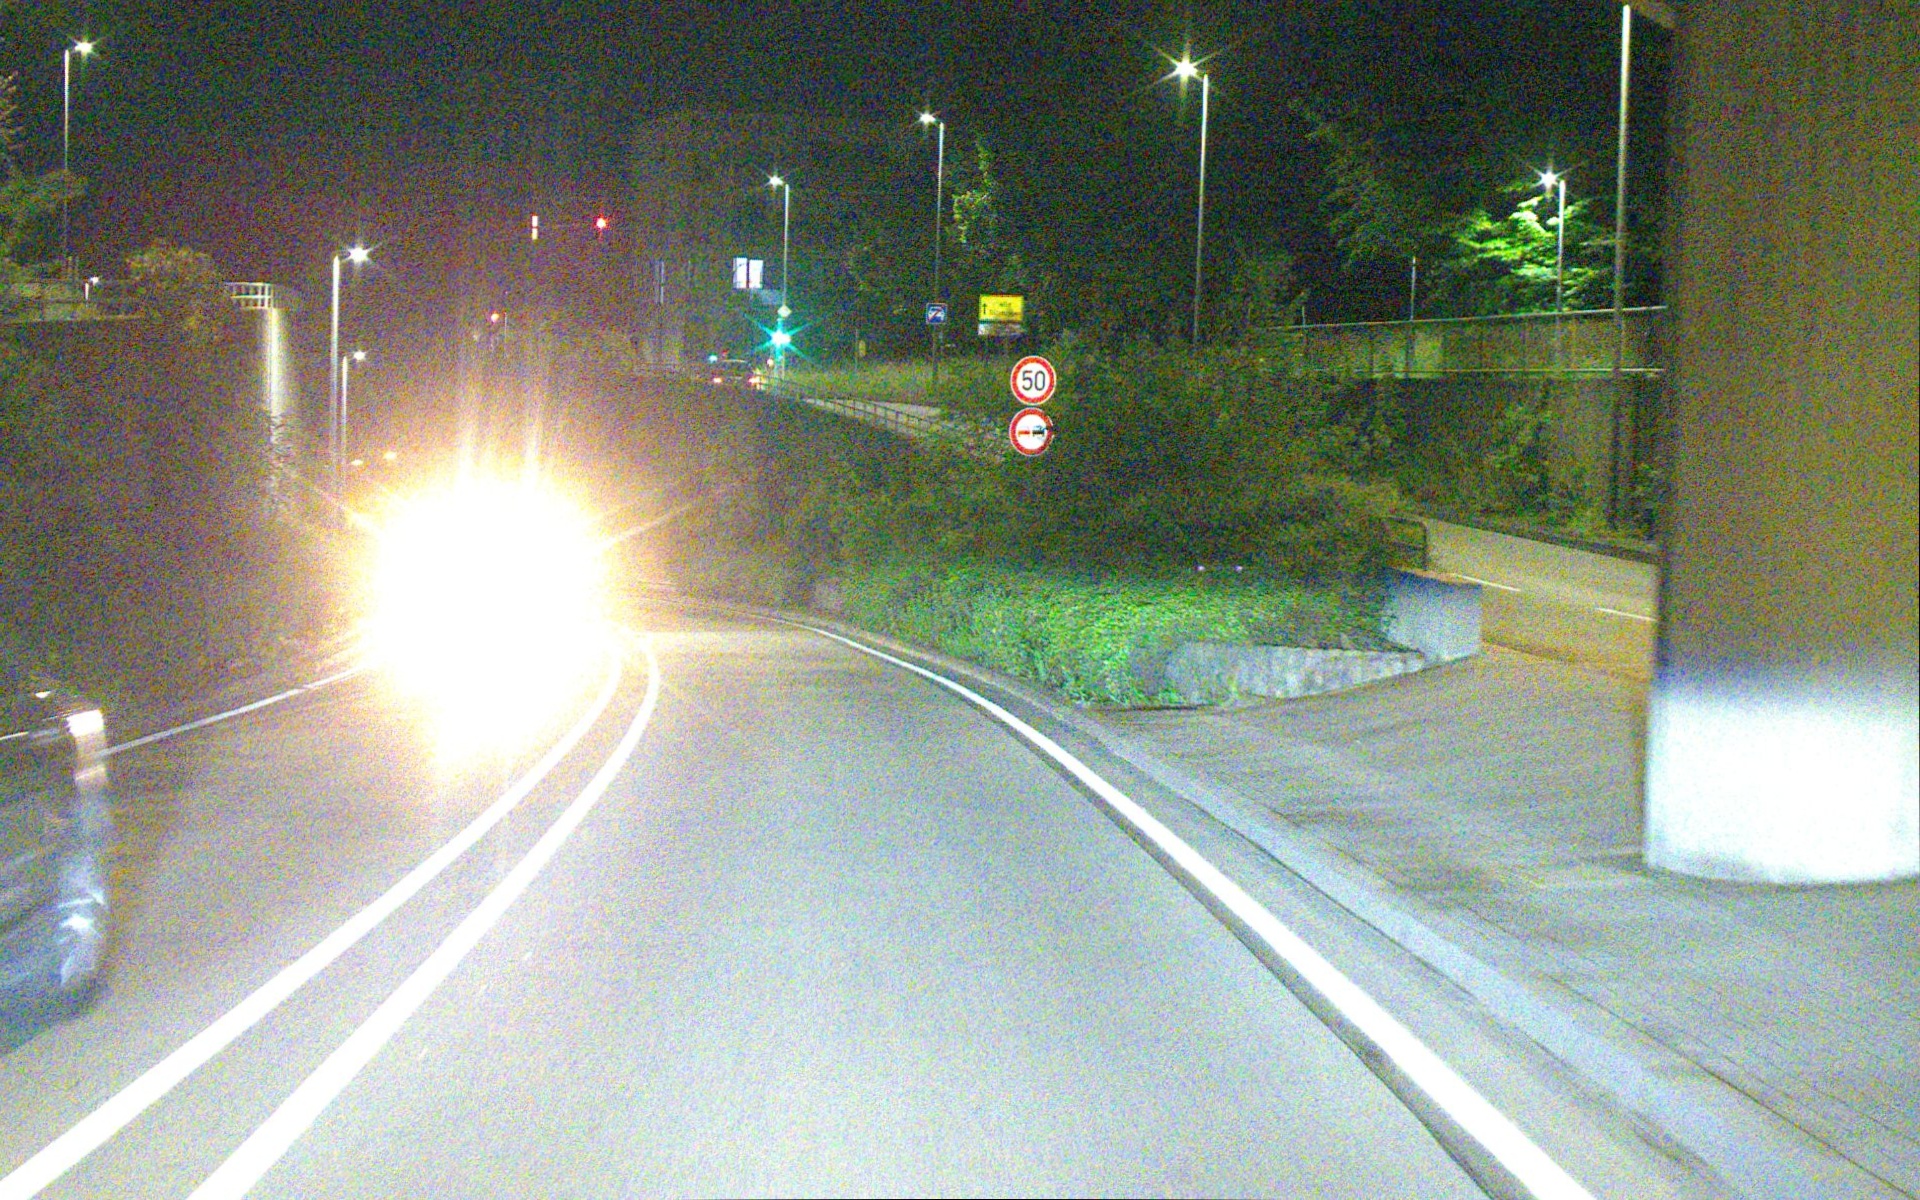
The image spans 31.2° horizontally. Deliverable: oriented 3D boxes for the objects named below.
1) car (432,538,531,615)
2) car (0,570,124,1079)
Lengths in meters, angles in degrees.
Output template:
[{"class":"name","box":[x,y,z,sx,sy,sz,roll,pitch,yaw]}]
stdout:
[{"class":"car","box":[-9.608,-0.488,69.258,1.858,1.505,4.001,0,1,-6]},{"class":"car","box":[-3.576,0.613,9.086,1.788,1.442,4.172,2,0,-2]}]
